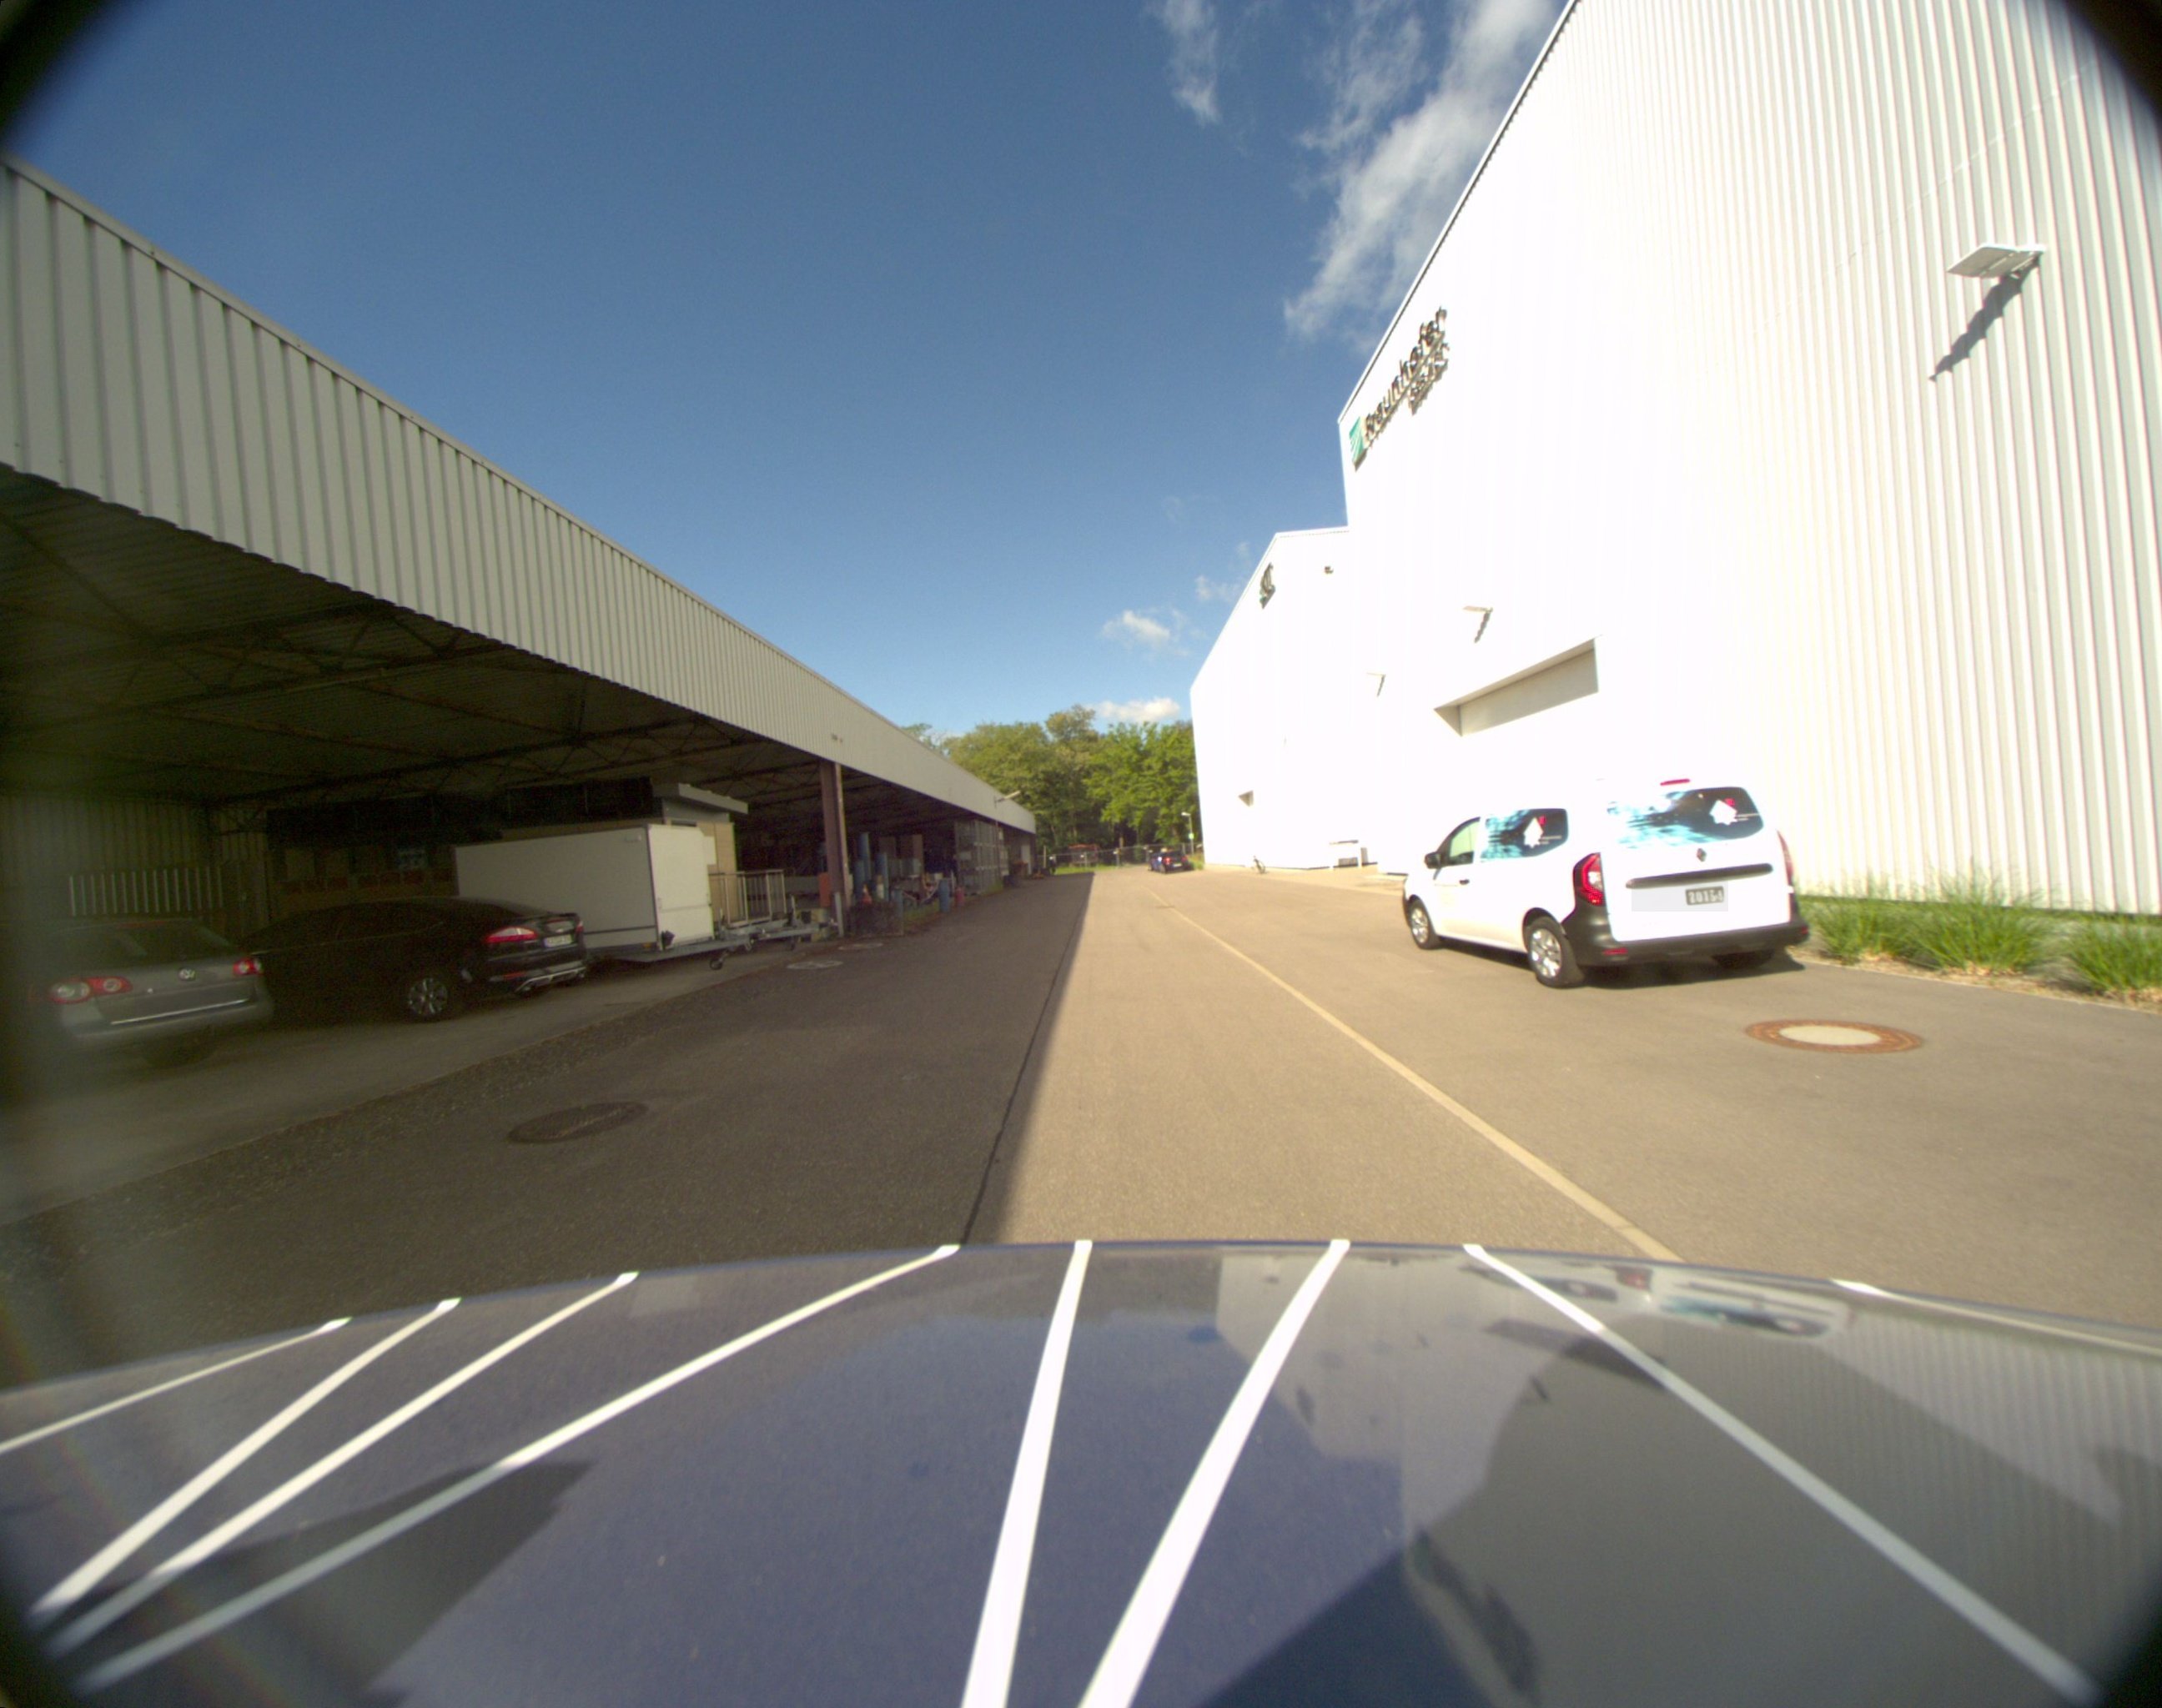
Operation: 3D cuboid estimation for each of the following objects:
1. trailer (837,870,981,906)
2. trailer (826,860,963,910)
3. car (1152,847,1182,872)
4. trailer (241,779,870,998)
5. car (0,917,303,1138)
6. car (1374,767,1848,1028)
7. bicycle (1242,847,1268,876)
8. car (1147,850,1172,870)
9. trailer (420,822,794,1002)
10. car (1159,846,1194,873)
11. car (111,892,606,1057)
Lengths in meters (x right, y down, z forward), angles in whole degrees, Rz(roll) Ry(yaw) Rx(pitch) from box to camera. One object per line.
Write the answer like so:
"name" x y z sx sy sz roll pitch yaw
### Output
"trailer" -7.554 1.491 33.781 5.837 1.113 2.029 -4 0 0
"trailer" -7.364 1.212 30.427 4.879 1.619 2.029 -4 0 0
"car" 6.302 0.391 56.006 1.789 1.513 4.001 -7 0 3
"trailer" -9.625 0.620 14.716 10.062 3.197 2.854 -4 0 1
"car" -9.596 1.473 6.408 3.998 1.464 1.788 -4 0 -3
"car" 4.981 0.341 8.116 1.895 1.835 4.358 -7 0 1
"bicycle" 8.001 0.334 34.792 0.909 1.136 1.901 -8 0 17
"car" 6.317 0.432 61.401 1.789 1.431 4.001 -4 0 3
"trailer" -7.400 0.879 12.130 4.822 2.377 1.827 -4 0 6
"car" 6.311 0.365 50.753 1.895 1.513 4.001 -7 0 3
"car" -8.714 1.402 9.485 4.340 1.487 1.777 -4 0 -1
